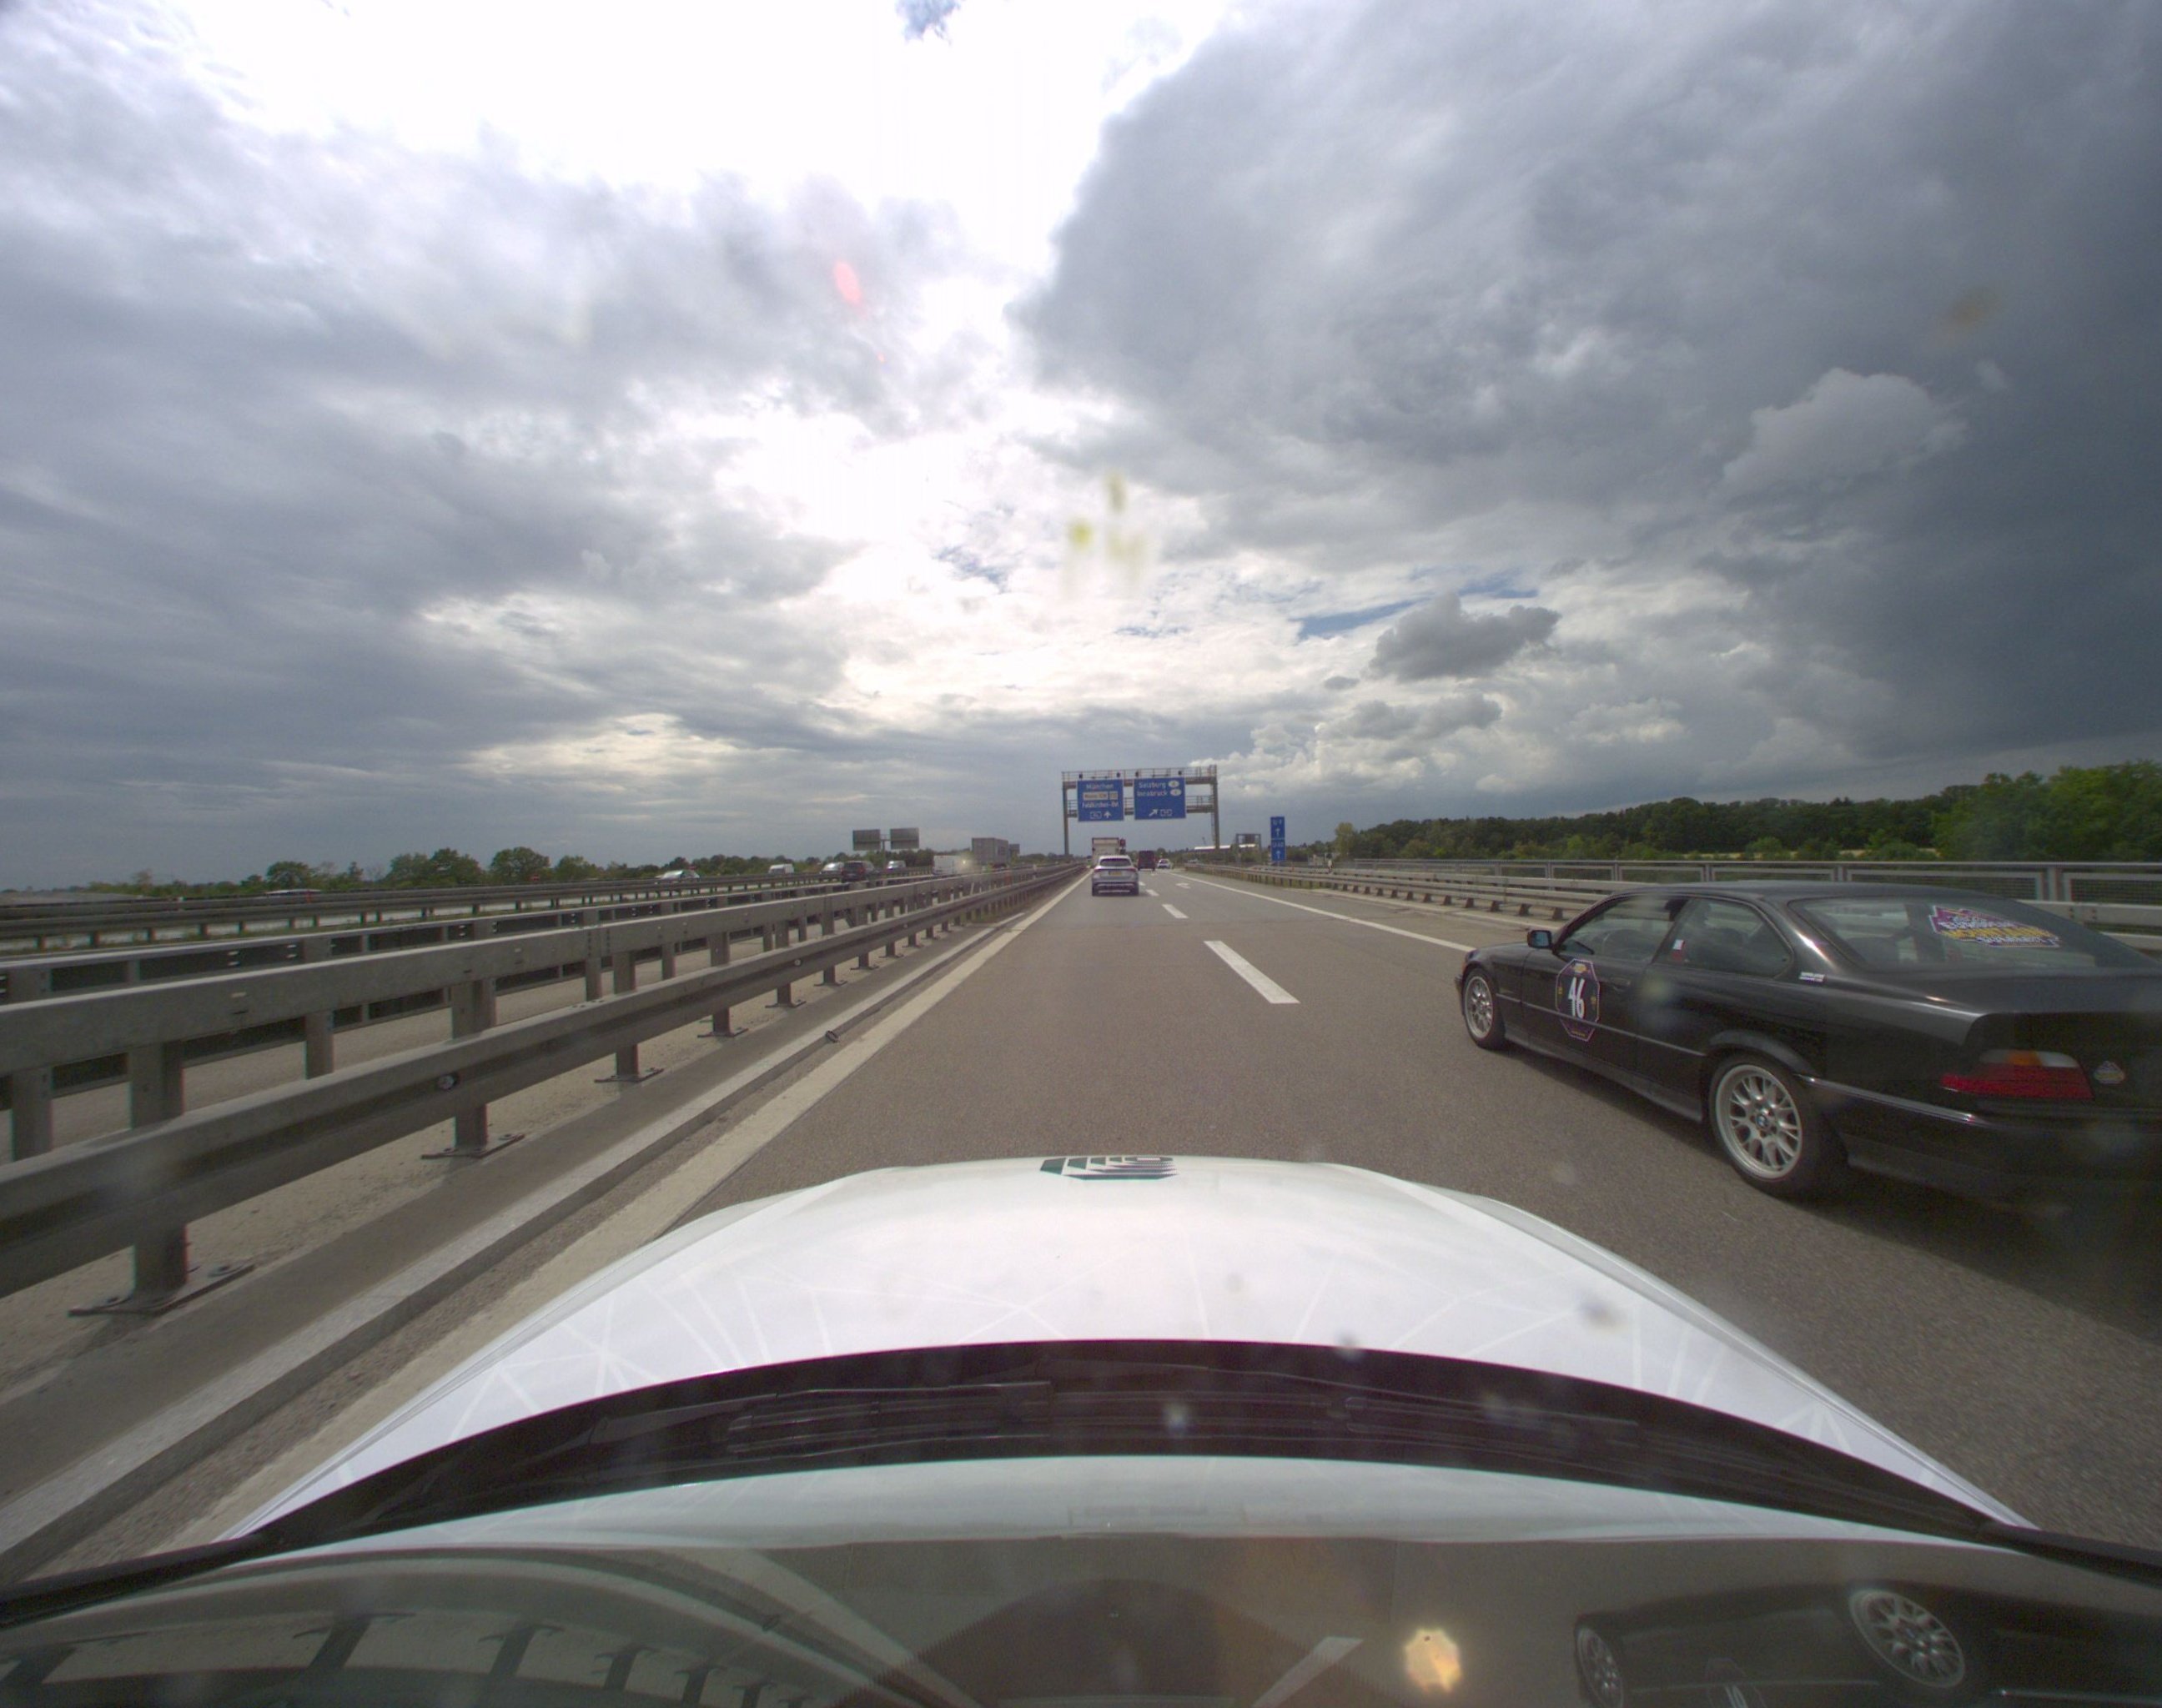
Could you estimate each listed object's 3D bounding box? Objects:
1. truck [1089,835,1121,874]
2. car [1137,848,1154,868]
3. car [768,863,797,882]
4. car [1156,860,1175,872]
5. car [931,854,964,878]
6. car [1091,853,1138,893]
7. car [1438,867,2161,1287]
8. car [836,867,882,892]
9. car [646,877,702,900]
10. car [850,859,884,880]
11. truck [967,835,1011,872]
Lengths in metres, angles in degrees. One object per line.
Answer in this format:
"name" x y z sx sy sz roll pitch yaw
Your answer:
"truck" 2.088 0.090 69.670 2.559 3.126 8.637 0 -1 2
"car" 7.449 0.472 93.448 1.898 2.262 4.655 0 0 5
"car" -38.846 2.397 106.180 1.986 2.306 4.492 0 0 2
"car" 12.587 1.805 121.246 1.978 1.709 4.018 0 0 17
"car" -11.510 1.010 70.436 1.986 2.013 4.376 0 0 2
"car" 1.387 0.752 33.688 1.812 1.514 4.002 0 0 2
"car" 3.815 0.770 4.851 1.697 1.281 4.370 0 0 3
"car" -15.549 1.759 57.252 1.874 1.546 4.616 0 0 1
"car" -28.923 2.455 57.986 1.698 1.422 4.332 0 0 2
"car" -20.419 1.457 77.802 1.902 1.794 4.004 -1 0 3
"truck" -10.741 -0.078 97.182 3.172 4.019 16.077 0 0 1
